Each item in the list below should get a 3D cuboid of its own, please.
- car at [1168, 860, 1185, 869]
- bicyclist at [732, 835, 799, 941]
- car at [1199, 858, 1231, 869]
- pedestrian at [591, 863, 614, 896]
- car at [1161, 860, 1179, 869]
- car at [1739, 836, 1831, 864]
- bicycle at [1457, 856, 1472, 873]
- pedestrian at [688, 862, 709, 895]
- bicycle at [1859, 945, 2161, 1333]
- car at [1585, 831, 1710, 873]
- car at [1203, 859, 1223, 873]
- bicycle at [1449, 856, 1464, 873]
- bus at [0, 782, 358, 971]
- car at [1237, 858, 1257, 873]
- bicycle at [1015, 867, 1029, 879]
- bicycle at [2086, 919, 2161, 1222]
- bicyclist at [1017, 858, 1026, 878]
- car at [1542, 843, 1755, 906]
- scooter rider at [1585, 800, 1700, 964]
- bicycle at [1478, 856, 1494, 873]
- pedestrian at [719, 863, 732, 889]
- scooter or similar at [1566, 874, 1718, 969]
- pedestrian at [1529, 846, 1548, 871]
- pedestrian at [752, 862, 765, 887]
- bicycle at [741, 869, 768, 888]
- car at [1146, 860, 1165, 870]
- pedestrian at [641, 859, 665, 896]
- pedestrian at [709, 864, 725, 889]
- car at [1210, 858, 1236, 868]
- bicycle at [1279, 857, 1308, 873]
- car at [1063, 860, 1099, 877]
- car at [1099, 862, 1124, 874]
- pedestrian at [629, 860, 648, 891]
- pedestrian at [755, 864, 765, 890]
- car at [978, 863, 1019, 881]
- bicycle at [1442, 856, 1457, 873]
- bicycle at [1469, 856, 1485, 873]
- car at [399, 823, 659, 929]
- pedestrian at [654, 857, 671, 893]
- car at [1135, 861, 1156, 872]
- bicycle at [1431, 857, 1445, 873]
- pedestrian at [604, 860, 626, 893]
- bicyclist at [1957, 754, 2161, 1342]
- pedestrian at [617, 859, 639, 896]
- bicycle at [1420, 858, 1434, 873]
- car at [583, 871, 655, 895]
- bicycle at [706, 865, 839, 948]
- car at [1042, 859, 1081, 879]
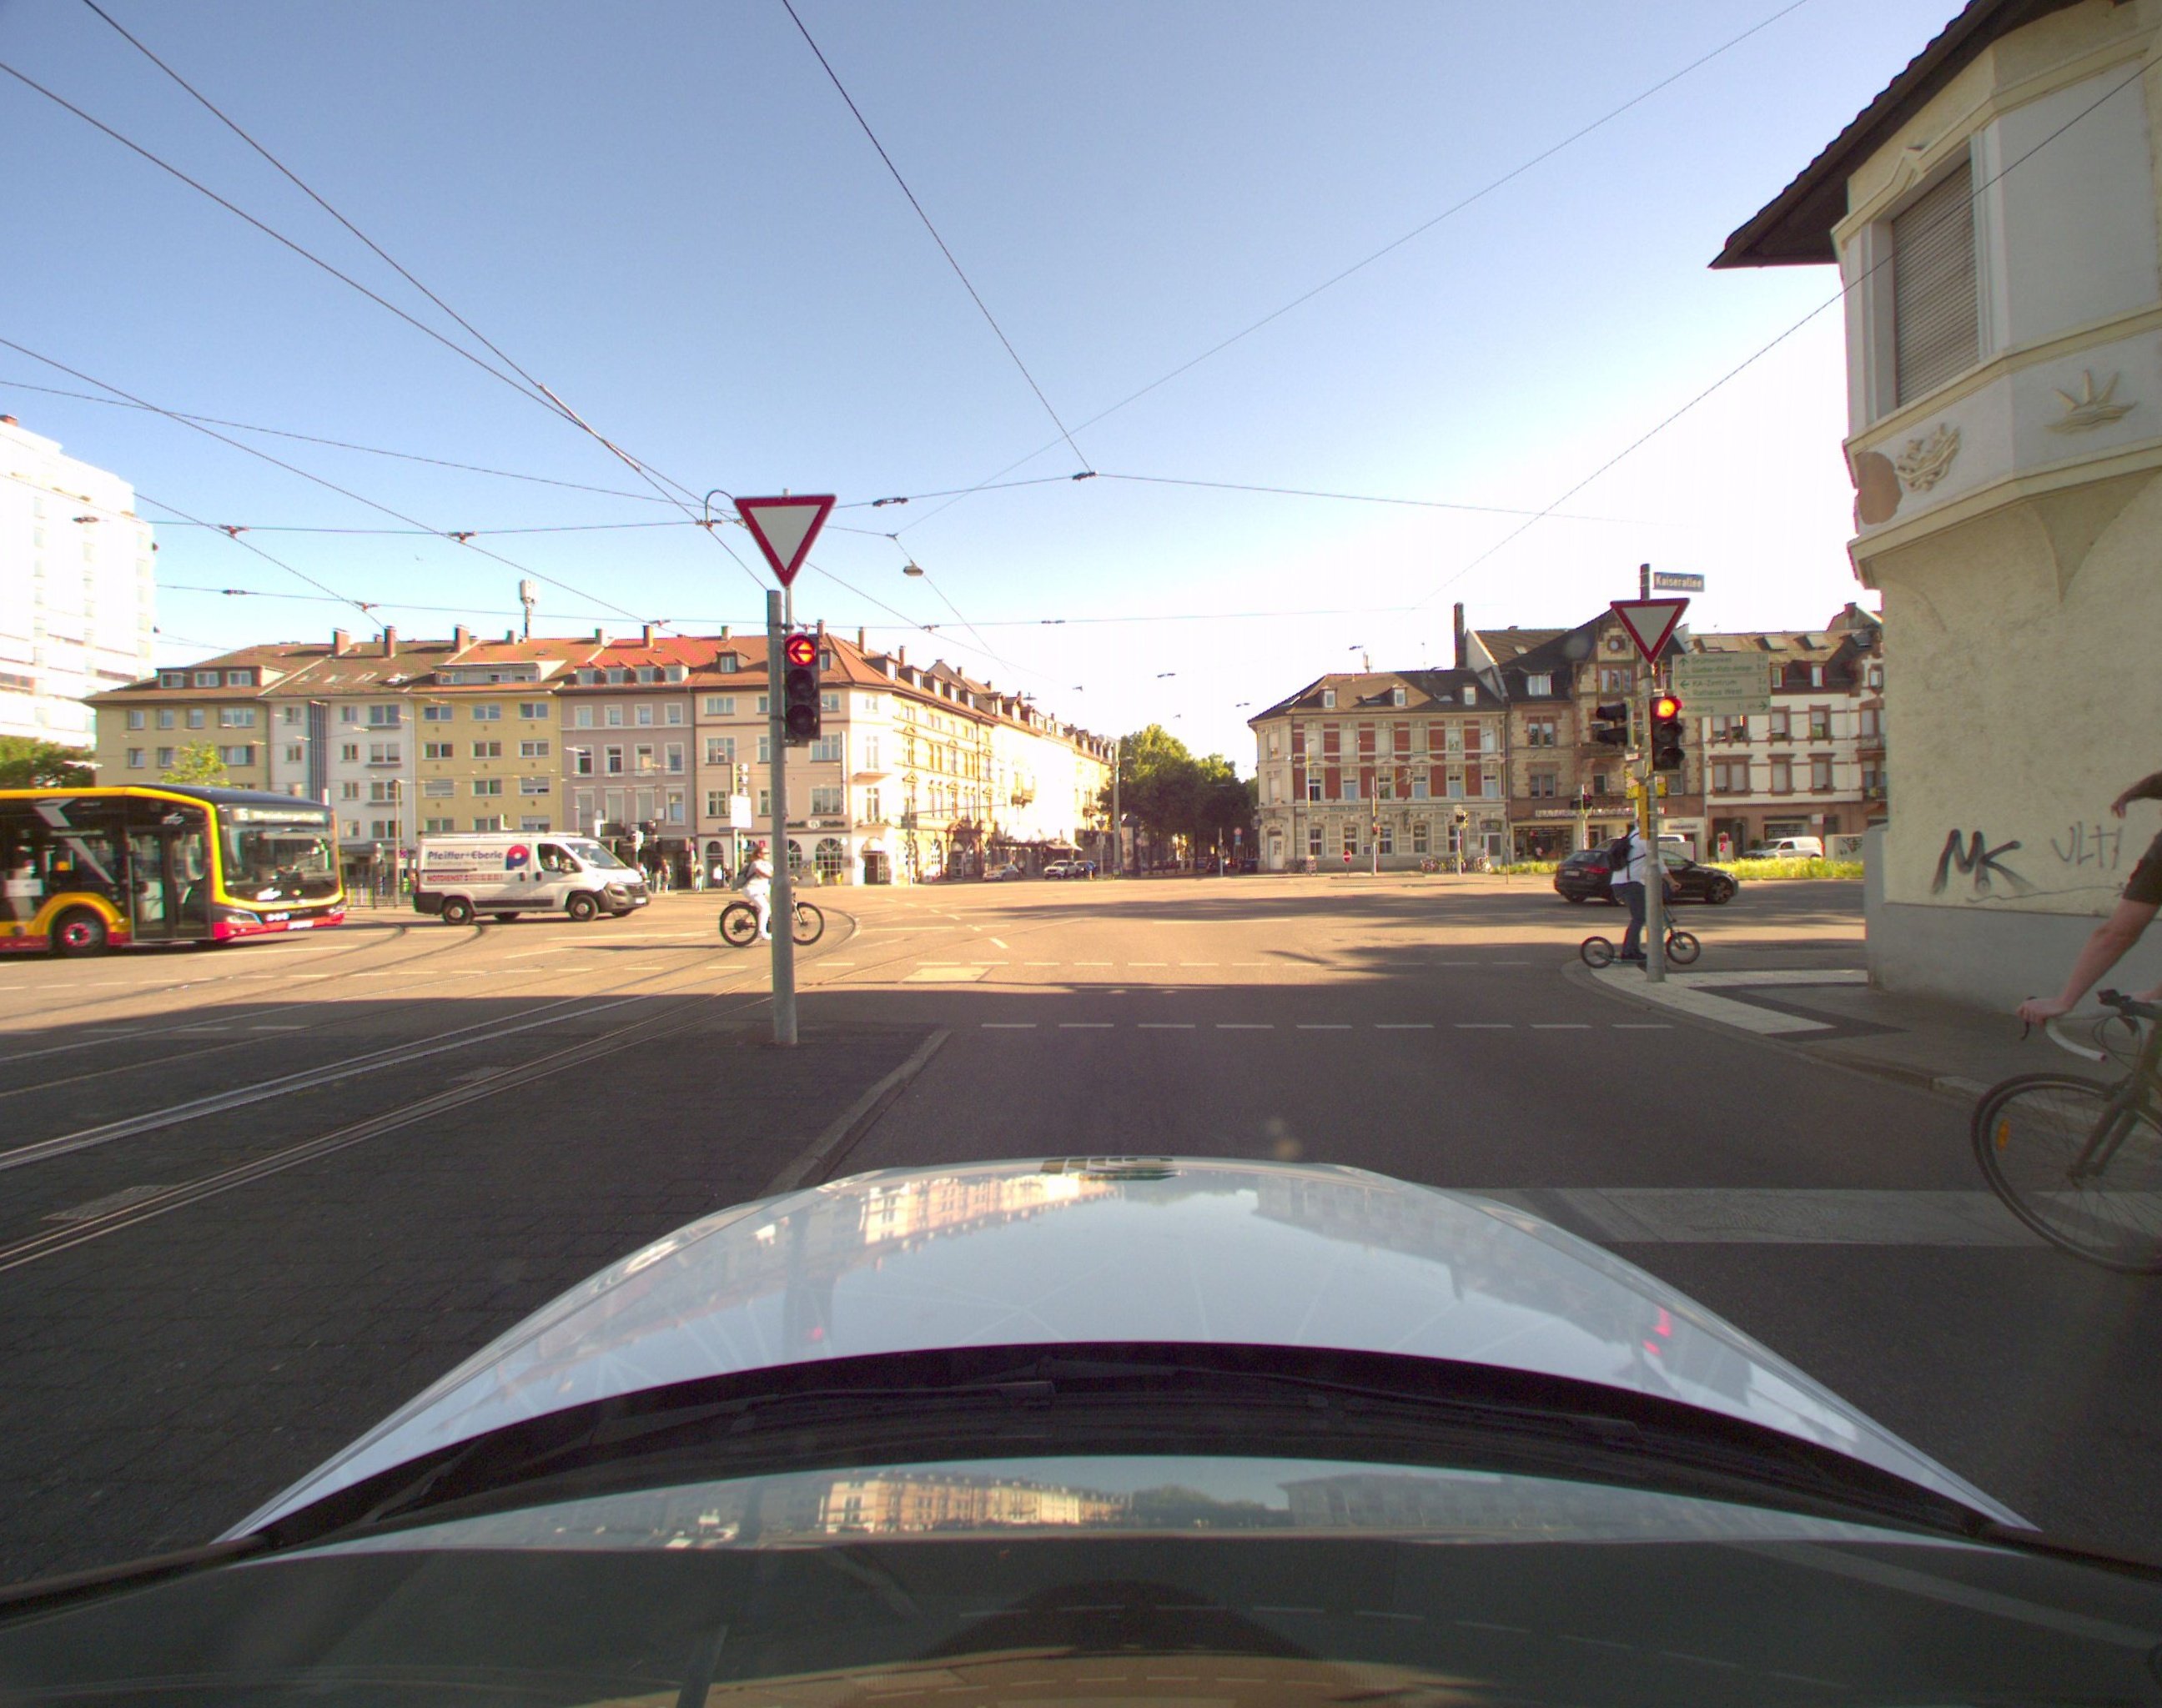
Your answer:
[{"bbox_3d":[16.034,1.737,136.409,1.977,1.404,4.189,-1,0,18],"label":"car"},{"bbox_3d":[-5.296,0.552,13.696,0.796,1.715,0.734,-1,0,0],"label":"bicyclist"},{"bbox_3d":[17.339,1.225,105.152,3.959,1.288,1.700,-1,0,13],"label":"car"},{"bbox_3d":[-24.905,1.307,42.371,0.764,1.682,0.628,-1,0,1],"label":"pedestrian"},{"bbox_3d":[14.334,1.708,131.250,1.977,1.404,4.189,-1,0,18],"label":"car"},{"bbox_3d":[45.292,-0.245,52.471,4.239,1.622,1.999,-1,0,-1],"label":"car"},{"bbox_3d":[24.817,0.676,52.705,0.483,1.020,1.789,-1,0,12],"label":"bicycle"},{"bbox_3d":[-19.877,1.269,42.310,0.738,1.682,0.628,-1,0,1],"label":"pedestrian"},{"bbox_3d":[3.558,0.920,2.493,0.568,1.058,1.890,-1,0,2],"label":"bicycle"},{"bbox_3d":[29.022,-0.098,41.846,4.962,2.013,2.001,-1,0,1],"label":"car"},{"bbox_3d":[13.907,1.247,85.715,1.705,1.300,4.089,-1,0,14],"label":"car"},{"bbox_3d":[24.314,0.681,52.796,0.483,1.020,1.789,-1,0,12],"label":"bicycle"},{"bbox_3d":[-20.524,0.402,16.318,9.384,3.457,2.779,0,1,-1],"label":"bus"},{"bbox_3d":[16.802,1.131,82.283,1.742,1.420,4.016,-1,0,14],"label":"car"},{"bbox_3d":[-4.761,1.531,65.560,0.650,1.000,1.671,-1,-1,14],"label":"bicycle"},{"bbox_3d":[4.501,0.859,2.479,0.568,1.165,1.890,-1,0,2],"label":"bicycle"},{"bbox_3d":[-4.767,1.093,65.462,0.486,1.601,0.668,-1,0,12],"label":"bicyclist"},{"bbox_3d":[13.912,0.467,20.062,4.264,1.381,1.642,-1,0,-6],"label":"car"},{"bbox_3d":[6.921,0.332,10.083,0.792,1.912,0.797,-3,0,1],"label":"scooter rider"},{"bbox_3d":[26.333,0.667,52.908,0.483,1.020,1.789,-1,0,12],"label":"bicycle"},{"bbox_3d":[-23.075,1.409,52.924,0.744,1.682,0.623,-1,0,-23],"label":"pedestrian"},{"bbox_3d":[6.915,0.817,10.076,1.426,1.043,0.565,-4,0,1],"label":"scooter or similar"},{"bbox_3d":[31.359,0.292,55.827,1.029,1.712,0.631,-1,-1,10],"label":"pedestrian"},{"bbox_3d":[-22.084,1.423,55.735,0.744,1.682,0.623,-1,0,-23],"label":"pedestrian"},{"bbox_3d":[-22.987,1.718,57.372,1.714,1.276,0.385,-1,0,-16],"label":"bicycle"},{"bbox_3d":[11.204,1.688,122.492,1.977,1.404,4.189,-1,0,18],"label":"car"},{"bbox_3d":[-21.588,1.187,41.074,0.764,1.829,0.723,-1,0,1],"label":"pedestrian"},{"bbox_3d":[-25.343,1.563,56.695,0.622,1.682,0.745,-1,0,9],"label":"pedestrian"},{"bbox_3d":[19.384,1.213,111.180,3.409,1.239,1.582,-1,0,13],"label":"car"},{"bbox_3d":[14.913,0.750,57.130,1.940,1.054,0.717,-1,0,11],"label":"bicycle"},{"bbox_3d":[0.032,1.311,73.798,1.977,1.404,4.189,-1,0,18],"label":"car"},{"bbox_3d":[3.835,1.711,102.166,1.977,1.404,4.189,-1,0,18],"label":"car"},{"bbox_3d":[-22.921,1.091,42.194,0.697,1.581,0.559,-1,0,-4],"label":"pedestrian"},{"bbox_3d":[-15.843,1.134,40.196,0.364,1.253,0.449,-1,0,-10],"label":"pedestrian"},{"bbox_3d":[-6.758,1.476,67.354,1.977,1.361,3.836,-1,0,18],"label":"car"},{"bbox_3d":[23.855,0.683,52.746,0.483,1.020,1.789,-1,0,12],"label":"bicycle"},{"bbox_3d":[25.629,0.671,52.753,0.483,1.020,1.789,-1,0,12],"label":"bicycle"},{"bbox_3d":[-13.998,0.524,20.937,5.102,2.432,2.078,-2,-1,-5],"label":"car"},{"bbox_3d":[-21.622,1.080,42.038,0.559,1.786,0.559,-1,0,-4],"label":"pedestrian"},{"bbox_3d":[9.249,1.813,116.814,1.977,1.404,4.189,-1,0,18],"label":"car"},{"bbox_3d":[23.159,0.722,52.864,0.483,1.020,1.789,-1,0,12],"label":"bicycle"},{"bbox_3d":[-23.516,1.116,41.123,0.738,1.635,0.572,-1,0,1],"label":"pedestrian"},{"bbox_3d":[3.556,0.577,2.491,0.649,1.767,0.995,-1,0,2],"label":"bicyclist"},{"bbox_3d":[-22.723,1.171,40.891,0.625,1.850,0.778,-1,0,1],"label":"pedestrian"},{"bbox_3d":[22.483,0.731,52.968,0.483,0.914,1.789,-1,0,12],"label":"bicycle"},{"bbox_3d":[-30.345,1.900,53.527,3.711,1.491,1.820,0,-1,4],"label":"car"},{"bbox_3d":[-5.152,0.862,13.661,1.934,1.298,0.623,-2,0,0],"label":"bicycle"},{"bbox_3d":[-1.588,1.217,67.660,1.977,1.516,4.189,-1,0,18],"label":"car"}]
